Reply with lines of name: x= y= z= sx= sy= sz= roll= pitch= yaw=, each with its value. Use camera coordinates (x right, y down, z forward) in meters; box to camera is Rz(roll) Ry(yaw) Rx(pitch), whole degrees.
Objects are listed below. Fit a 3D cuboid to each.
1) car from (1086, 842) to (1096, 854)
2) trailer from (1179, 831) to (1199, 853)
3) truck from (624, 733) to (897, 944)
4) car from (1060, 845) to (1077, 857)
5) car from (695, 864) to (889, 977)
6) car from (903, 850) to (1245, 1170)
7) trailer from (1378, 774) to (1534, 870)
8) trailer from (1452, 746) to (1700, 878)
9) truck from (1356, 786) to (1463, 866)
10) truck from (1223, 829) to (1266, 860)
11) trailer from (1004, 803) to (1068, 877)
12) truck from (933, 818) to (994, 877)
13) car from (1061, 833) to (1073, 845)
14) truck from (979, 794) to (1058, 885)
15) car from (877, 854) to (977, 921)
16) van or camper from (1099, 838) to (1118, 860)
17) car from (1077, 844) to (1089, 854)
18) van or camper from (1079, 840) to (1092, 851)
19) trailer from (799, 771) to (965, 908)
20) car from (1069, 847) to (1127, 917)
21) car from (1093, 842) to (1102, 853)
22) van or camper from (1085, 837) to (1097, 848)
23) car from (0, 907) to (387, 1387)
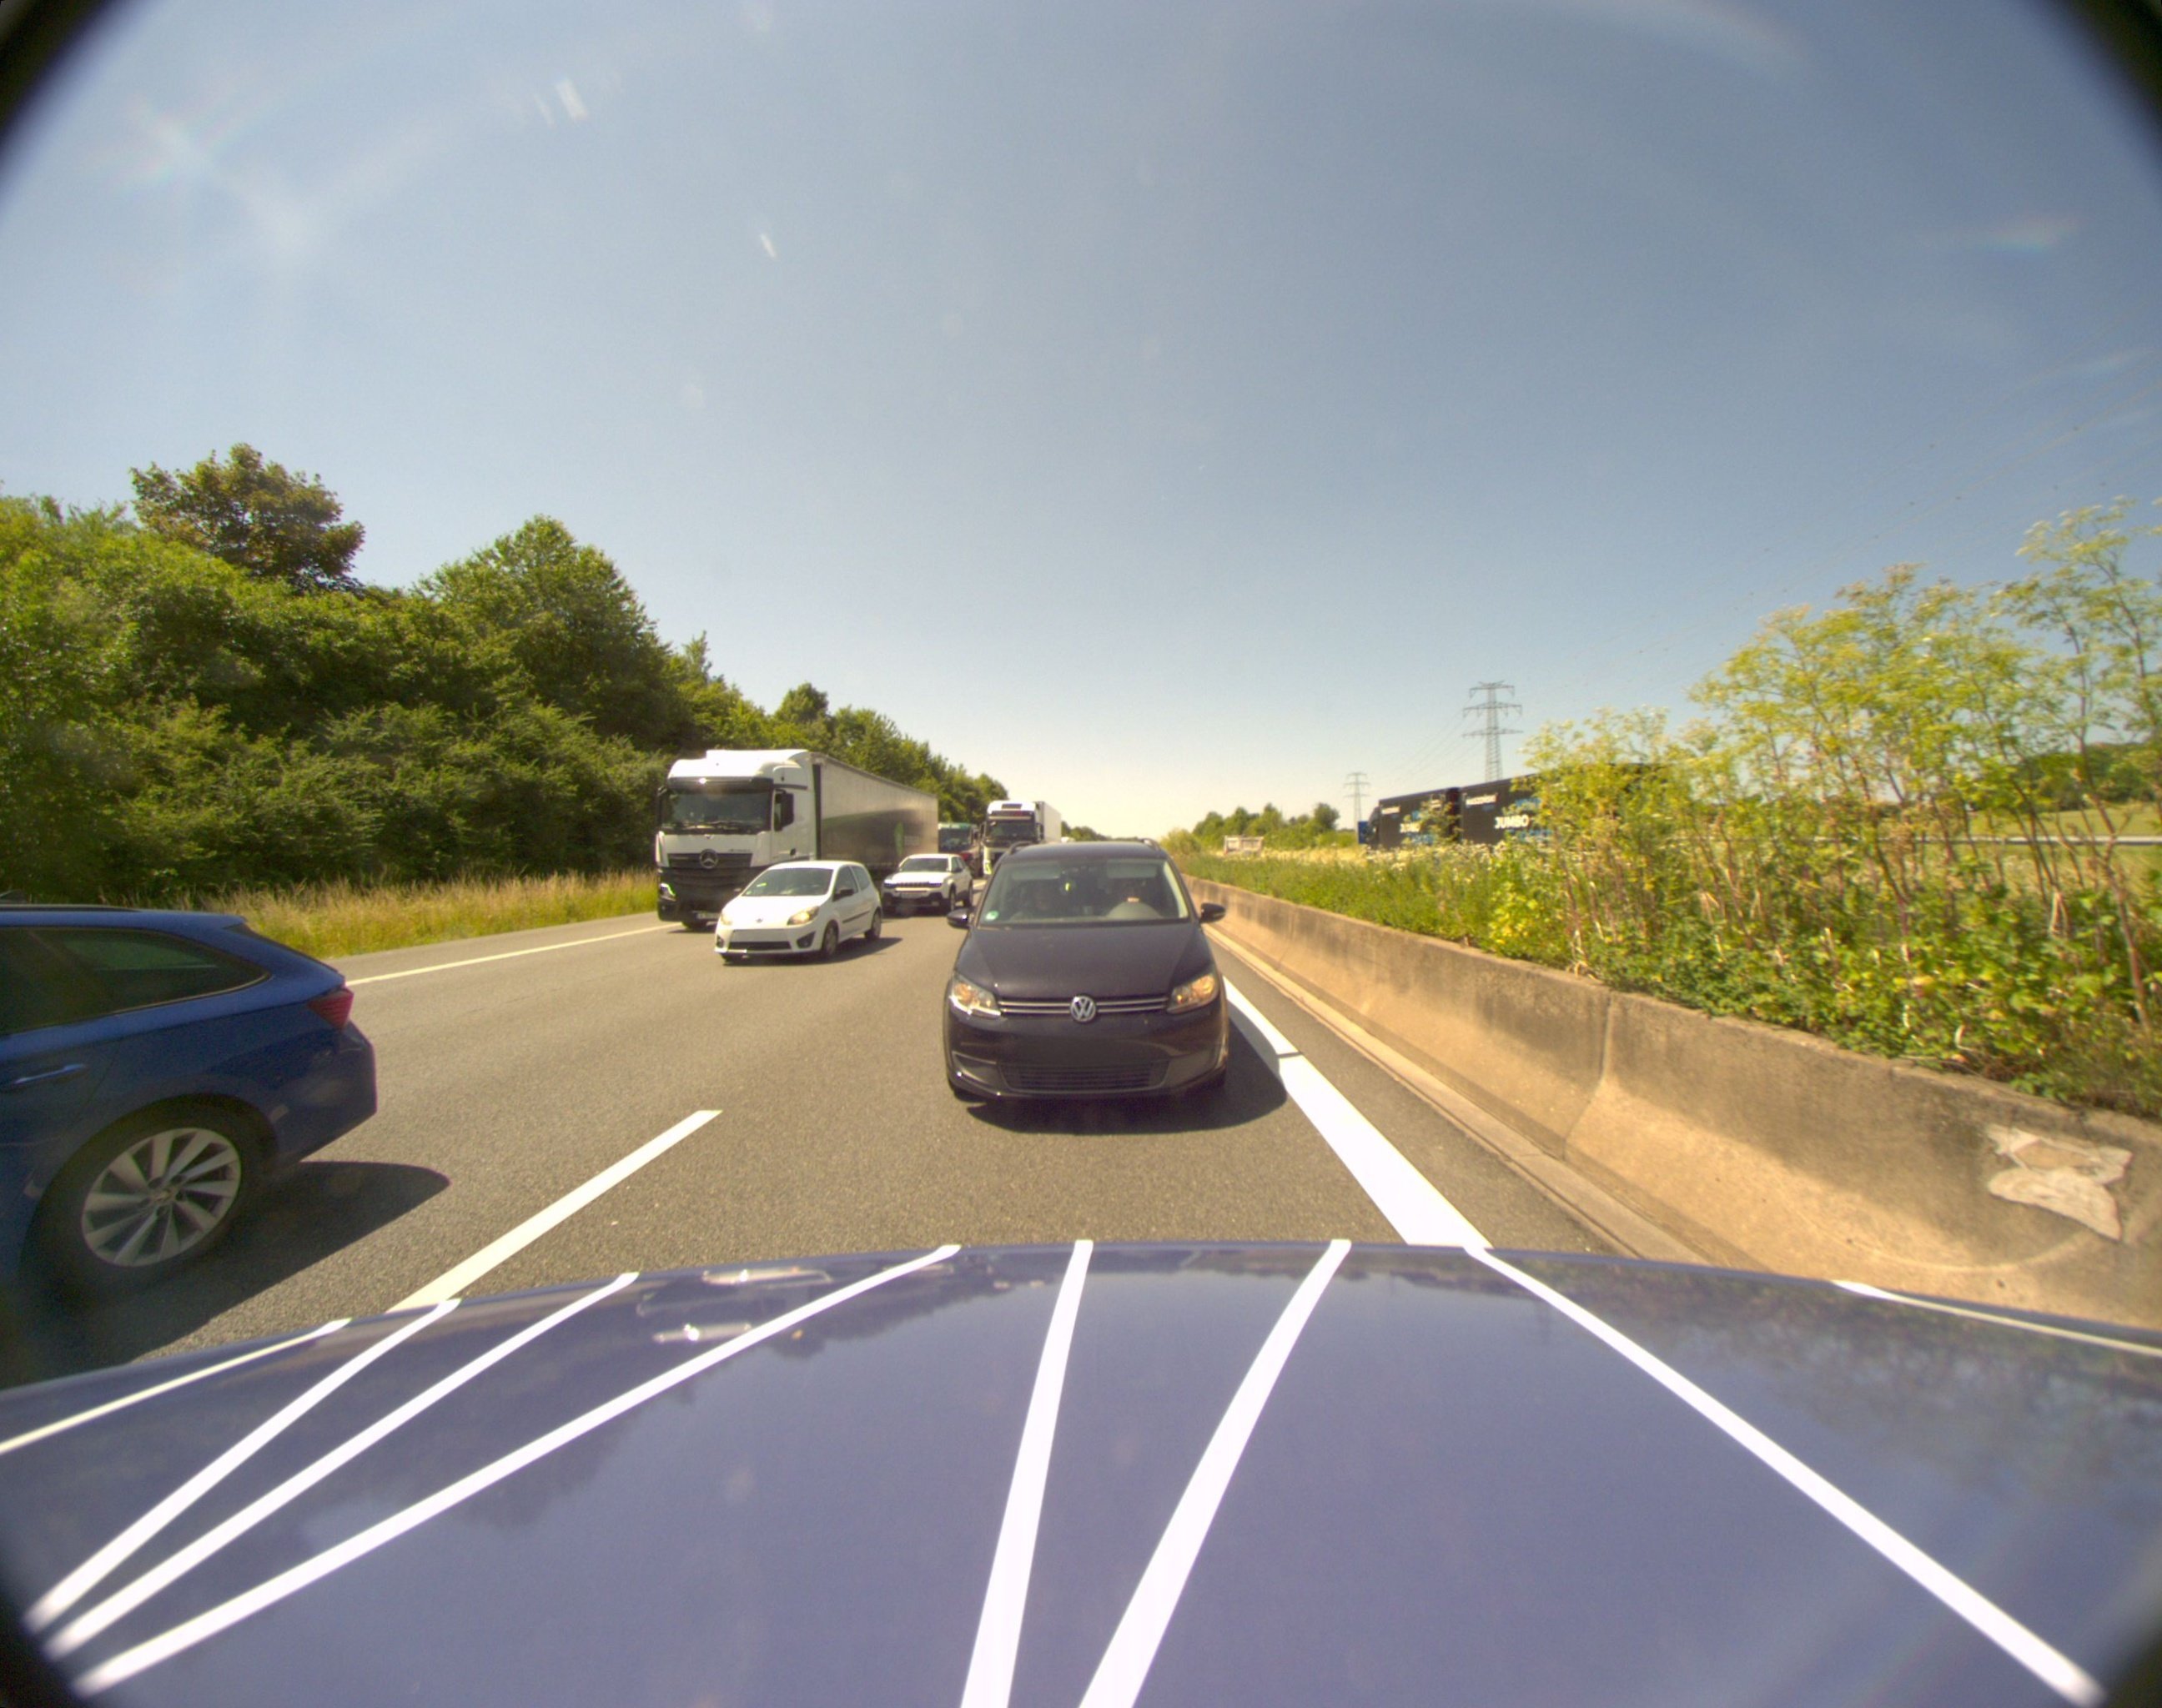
car: x=2.132 y=-1.243 z=158.846 sx=1.998 sy=2.302 sz=4.229 roll=-1 pitch=1 yaw=1
trailer: x=22.616 y=-2.512 z=159.325 sx=3.019 sy=4.203 sz=10.980 roll=-1 pitch=1 yaw=2
truck: x=-7.425 y=-0.365 z=19.397 sx=2.879 sy=4.133 sz=8.475 roll=-1 pitch=1 yaw=3
car: x=-1.363 y=-0.350 z=85.862 sx=1.650 sy=1.336 sz=3.381 roll=-1 pitch=1 yaw=3
car: x=-4.471 y=0.939 z=12.387 sx=1.609 sy=1.426 sz=3.809 roll=0 pitch=1 yaw=1
car: x=0.054 y=0.816 z=6.619 sx=1.758 sy=1.571 sz=5.291 roll=-1 pitch=1 yaw=2
trailer: x=16.307 y=-1.284 z=33.860 sx=3.132 sy=3.737 sz=7.869 roll=-1 pitch=1 yaw=1
trailer: x=16.170 y=-1.225 z=25.829 sx=3.190 sy=3.740 sz=8.200 roll=-1 pitch=1 yaw=1
truck: x=16.367 y=-1.313 z=38.298 sx=3.079 sy=3.688 sz=5.462 roll=-1 pitch=1 yaw=1
truck: x=18.320 y=-1.039 z=86.126 sx=2.771 sy=3.269 sz=11.819 roll=-1 pitch=1 yaw=2
trailer: x=-2.520 y=-0.833 z=45.683 sx=2.776 sy=3.951 sz=9.156 roll=-1 pitch=1 yaw=3
truck: x=-6.720 y=-0.398 z=44.080 sx=2.299 sy=3.128 sz=5.675 roll=-1 pitch=1 yaw=3
car: x=-2.465 y=-2.661 z=136.332 sx=1.998 sy=2.002 sz=4.000 roll=-1 pitch=1 yaw=2
truck: x=-2.891 y=-0.688 z=37.946 sx=2.750 sy=3.972 sz=8.361 roll=-1 pitch=1 yaw=3
car: x=-3.979 y=0.808 z=20.286 sx=1.748 sy=1.549 sz=3.884 roll=0 pitch=1 yaw=2
van or camper: x=3.209 y=-0.595 z=87.996 sx=1.956 sy=2.368 sz=4.037 roll=-3 pitch=1 yaw=3
car: x=0.312 y=-0.830 z=122.230 sx=1.652 sy=1.636 sz=4.000 roll=-1 pitch=1 yaw=3
van or camper: x=0.779 y=-1.607 z=139.192 sx=2.189 sy=2.018 sz=4.364 roll=-1 pitch=1 yaw=3
trailer: x=-7.053 y=-0.530 z=29.485 sx=2.880 sy=4.133 sz=12.074 roll=-1 pitch=1 yaw=1
car: x=0.497 y=0.690 z=20.396 sx=1.357 sy=1.630 sz=2.994 roll=-3 pitch=1 yaw=3
car: x=3.829 y=-1.535 z=177.217 sx=1.998 sy=2.302 sz=4.229 roll=-1 pitch=1 yaw=2
van or camper: x=2.575 y=-3.024 z=193.958 sx=2.745 sy=2.680 sz=5.363 roll=-1 pitch=1 yaw=2
car: x=-4.370 y=1.014 z=1.422 sx=1.780 sy=1.408 sz=4.572 roll=0 pitch=1 yaw=3
